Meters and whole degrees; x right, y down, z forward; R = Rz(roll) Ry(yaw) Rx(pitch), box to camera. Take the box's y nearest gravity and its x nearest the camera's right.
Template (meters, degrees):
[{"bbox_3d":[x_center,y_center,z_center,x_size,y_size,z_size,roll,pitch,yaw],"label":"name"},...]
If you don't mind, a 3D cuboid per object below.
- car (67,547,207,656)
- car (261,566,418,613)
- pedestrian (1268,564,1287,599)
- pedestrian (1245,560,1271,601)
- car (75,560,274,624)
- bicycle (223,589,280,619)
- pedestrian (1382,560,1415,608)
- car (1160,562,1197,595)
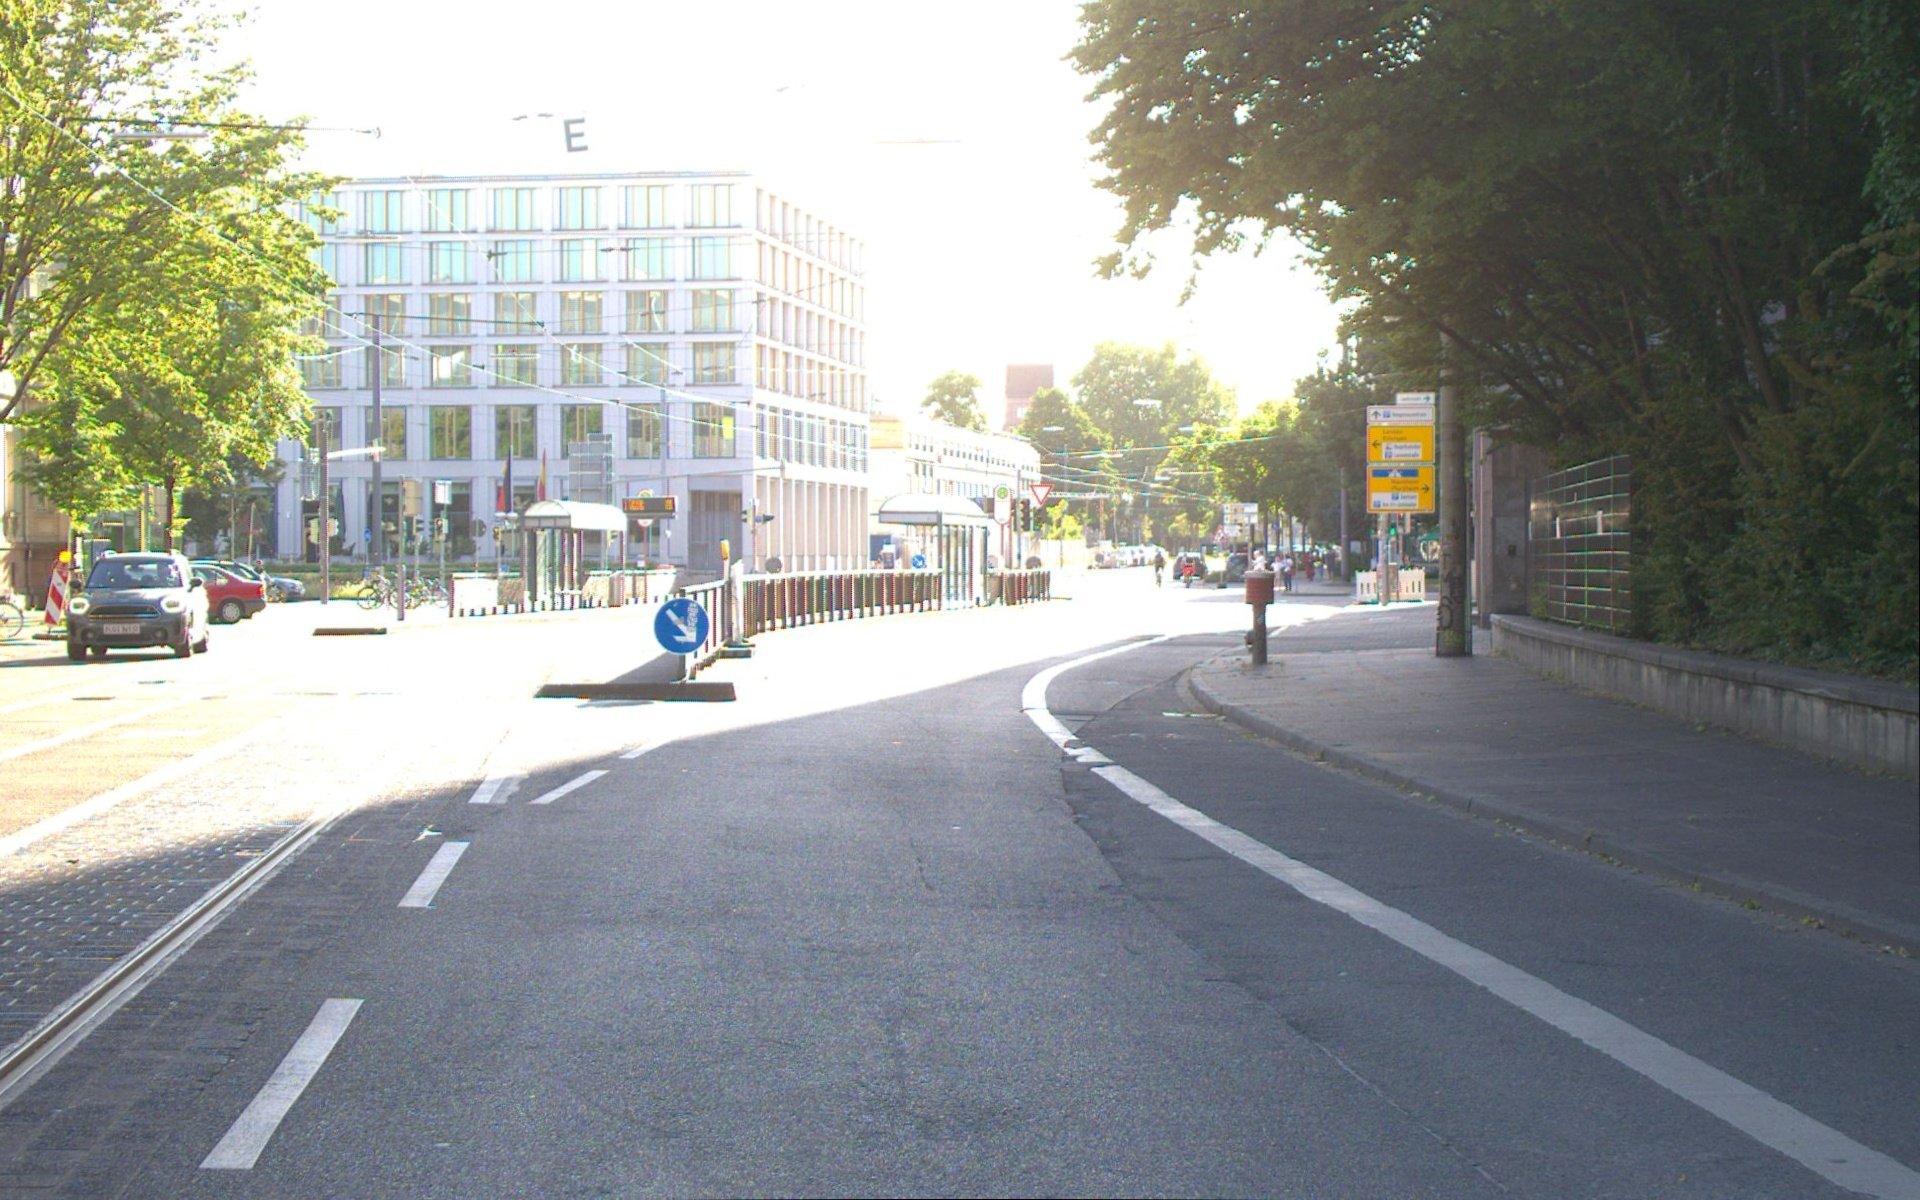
[{"bbox_3d":[-12.502,-0.010,52.452,1.870,1.595,4.428,0,1,-11],"label":"car"},{"bbox_3d":[-19.132,-0.324,106.031,4.499,1.346,1.590,1,-1,-24],"label":"car"},{"bbox_3d":[14.106,-0.837,152.722,0.762,1.553,0.588,0,0,-7],"label":"pedestrian"},{"bbox_3d":[13.081,-0.860,150.844,0.966,1.778,0.780,0,0,-7],"label":"pedestrian"},{"bbox_3d":[-18.966,-0.195,82.971,4.499,1.421,1.874,1,-1,-18],"label":"car"},{"bbox_3d":[-26.712,0.155,129.627,1.924,1.118,0.789,0,0,15],"label":"bicycle"},{"bbox_3d":[15.935,-0.585,124.973,1.039,1.715,1.035,0,0,-3],"label":"pedestrian"},{"bbox_3d":[11.943,-1.164,188.091,1.685,1.731,3.507,2,0,8],"label":"car"}]
